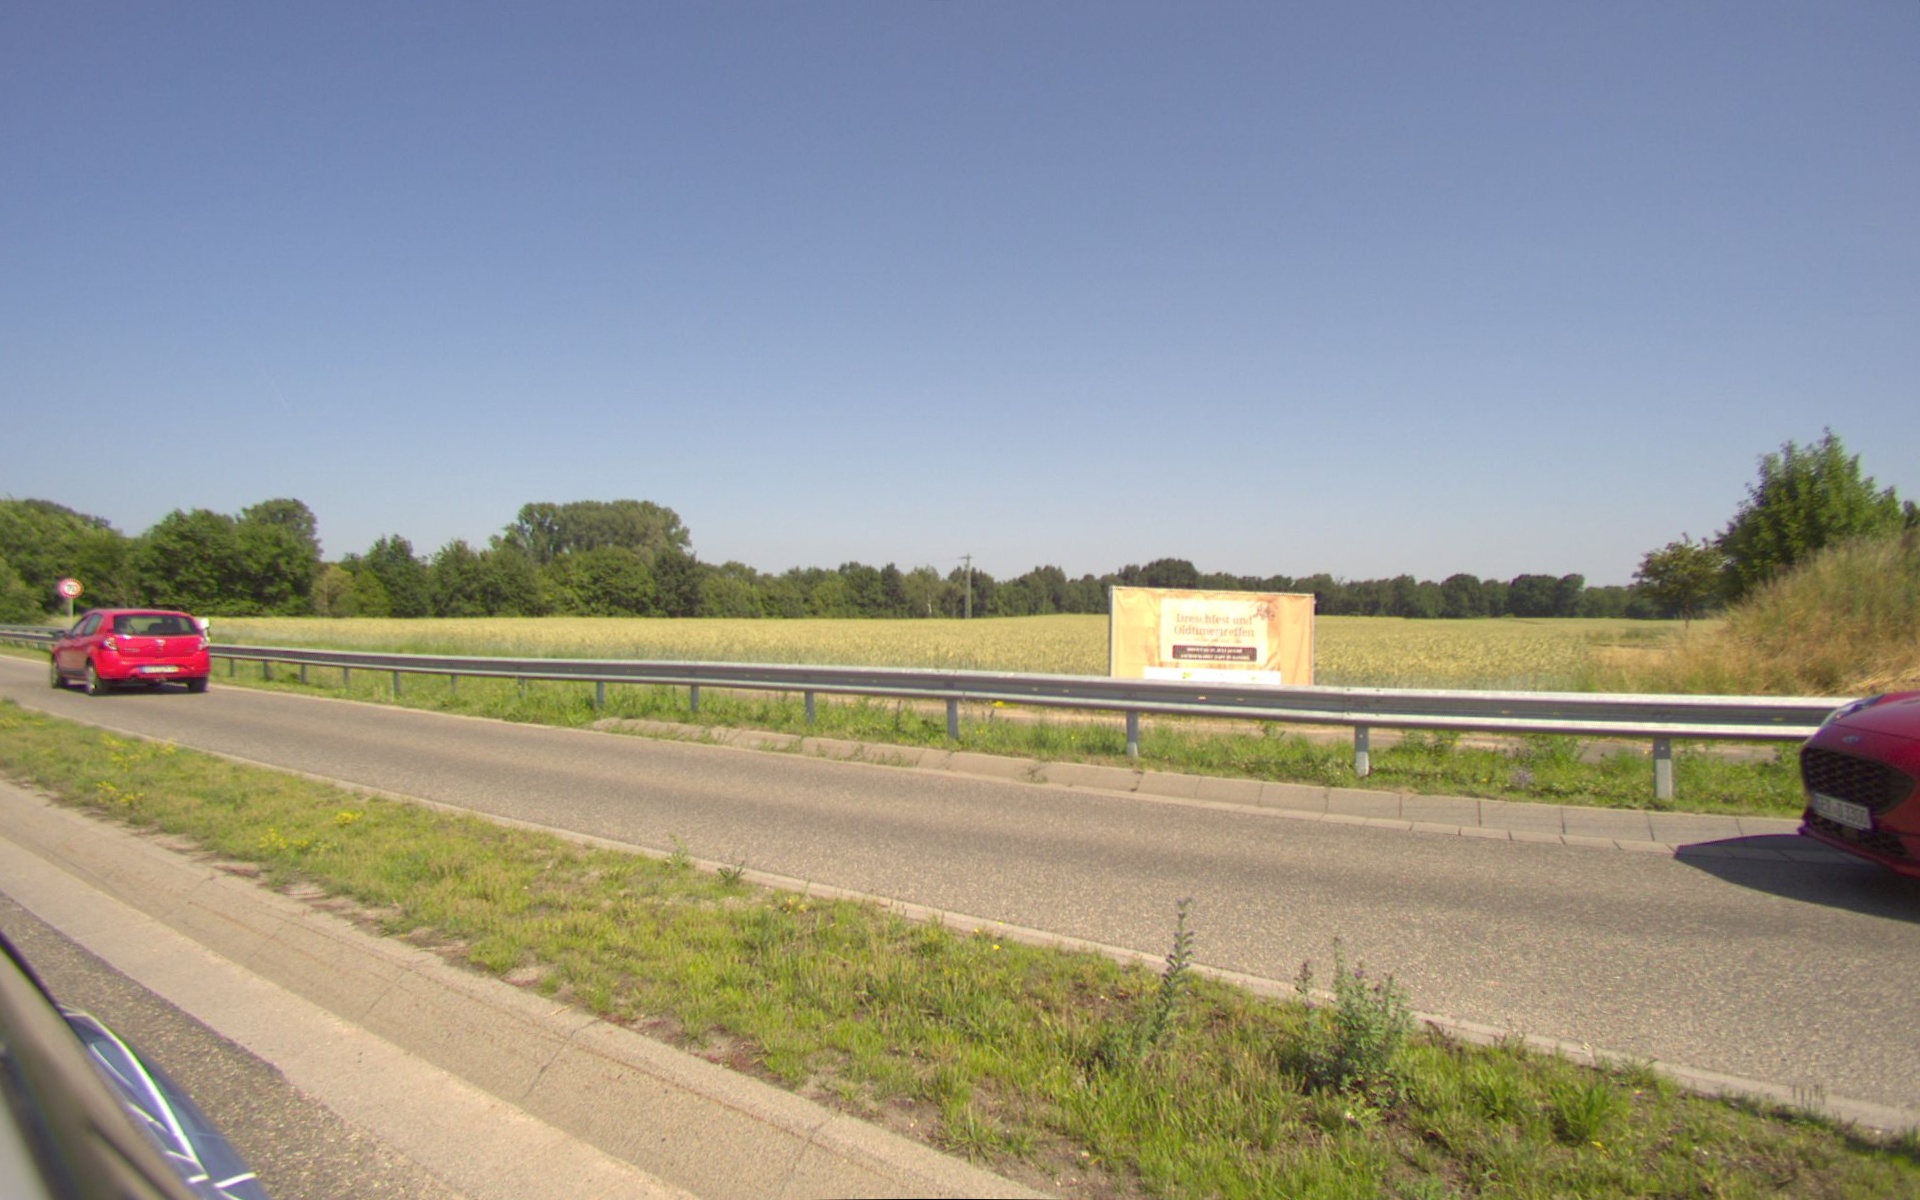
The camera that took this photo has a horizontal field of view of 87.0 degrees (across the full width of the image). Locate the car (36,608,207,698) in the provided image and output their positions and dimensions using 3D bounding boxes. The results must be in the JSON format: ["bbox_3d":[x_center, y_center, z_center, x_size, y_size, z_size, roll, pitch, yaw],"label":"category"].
[{"bbox_3d":[-15.592,0.920,18.760,3.796,1.502,1.612,0,-2,37],"label":"car"}]

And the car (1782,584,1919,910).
[{"bbox_3d":[6.400,0.684,4.520,3.792,1.534,1.742,-1,-2,13],"label":"car"}]
